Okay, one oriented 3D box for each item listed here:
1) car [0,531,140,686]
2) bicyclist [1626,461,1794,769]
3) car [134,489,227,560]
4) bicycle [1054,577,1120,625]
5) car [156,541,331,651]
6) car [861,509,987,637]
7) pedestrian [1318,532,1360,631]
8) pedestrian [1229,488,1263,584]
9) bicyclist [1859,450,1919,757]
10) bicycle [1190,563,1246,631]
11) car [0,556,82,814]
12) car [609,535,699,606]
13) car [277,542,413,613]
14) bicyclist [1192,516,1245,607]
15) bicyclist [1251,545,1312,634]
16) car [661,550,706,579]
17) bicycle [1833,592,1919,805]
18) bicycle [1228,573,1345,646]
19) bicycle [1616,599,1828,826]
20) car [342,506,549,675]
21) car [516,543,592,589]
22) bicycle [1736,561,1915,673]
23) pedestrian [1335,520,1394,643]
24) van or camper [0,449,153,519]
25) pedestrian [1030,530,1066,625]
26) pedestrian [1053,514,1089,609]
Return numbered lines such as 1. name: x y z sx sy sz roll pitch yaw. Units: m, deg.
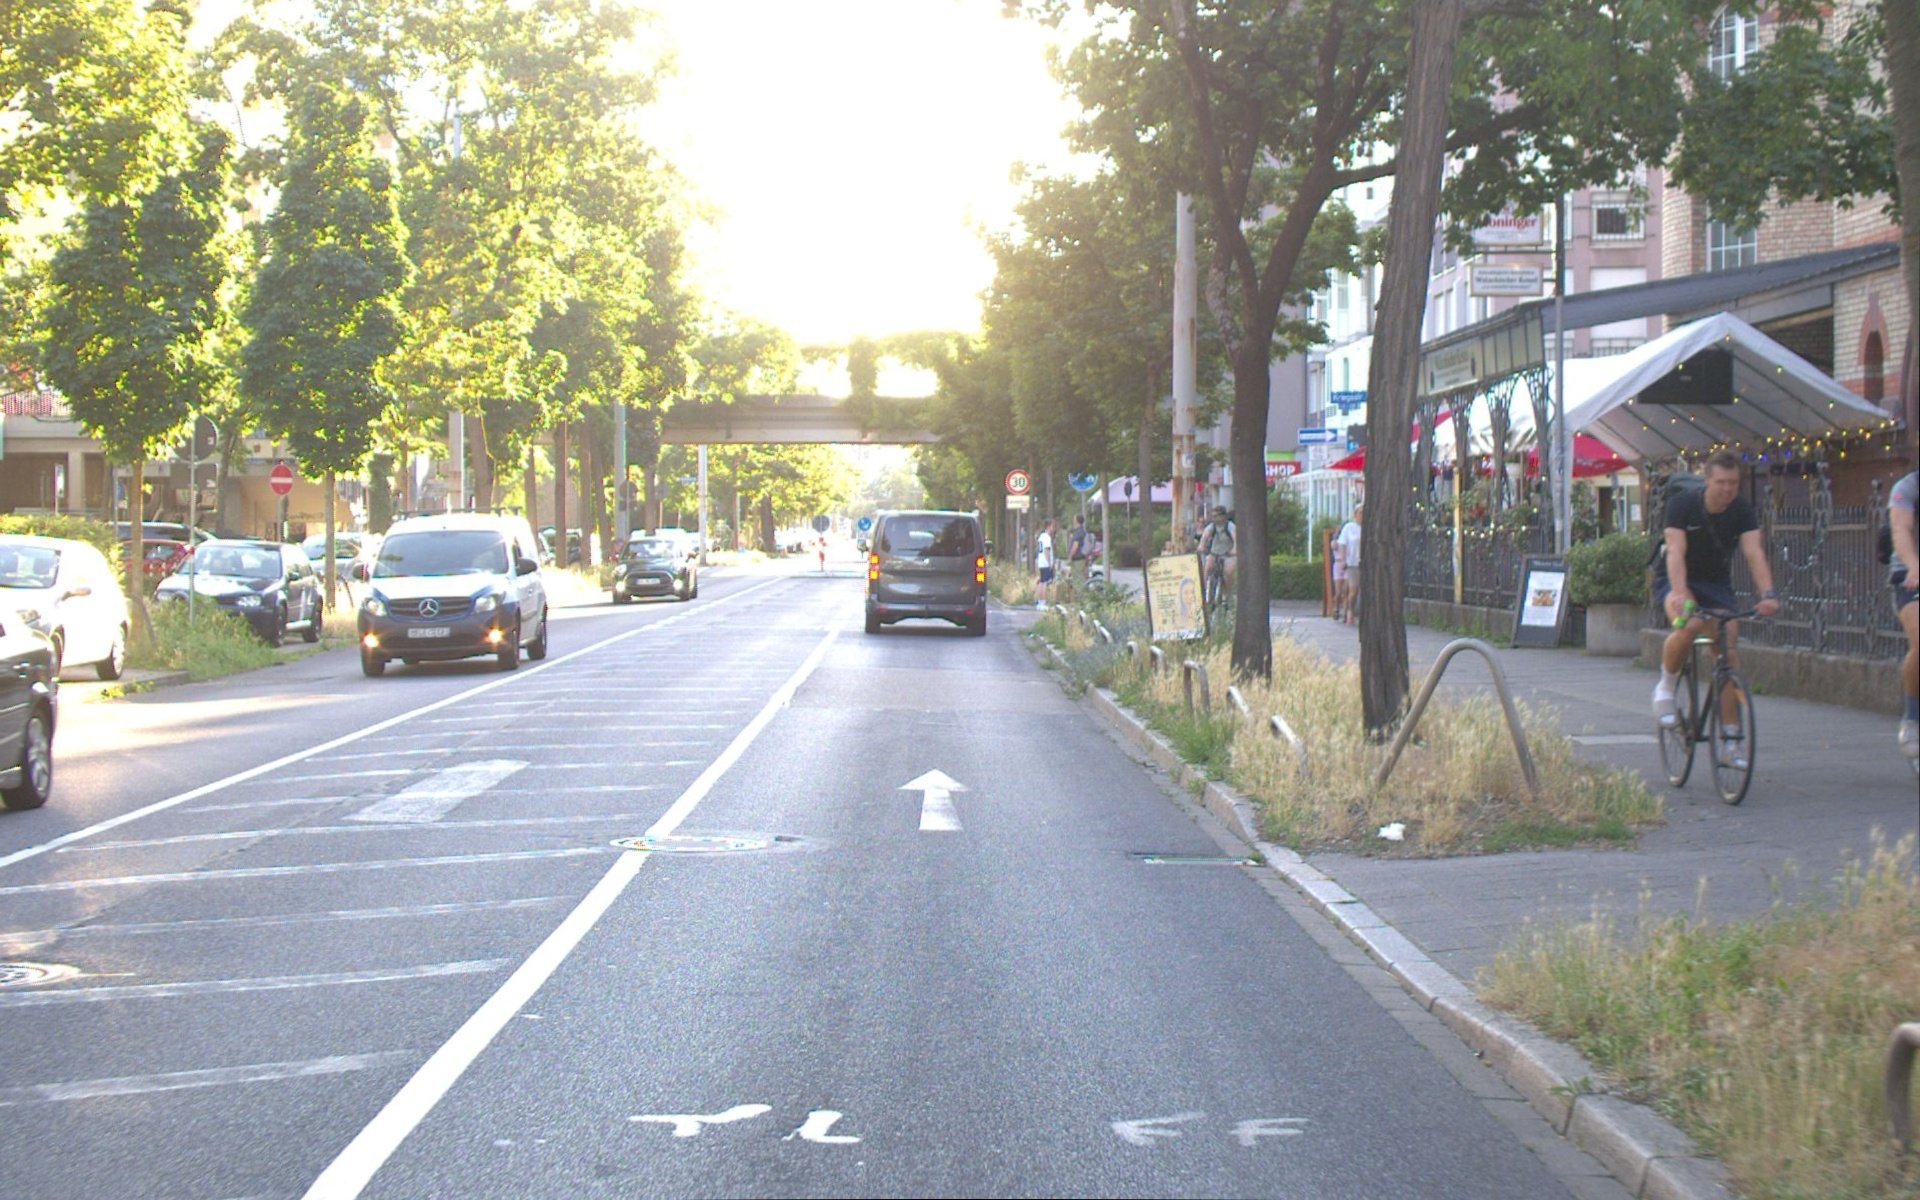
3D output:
1. car: -9.663 0.036 35.067 1.696 1.446 4.000 2 1 -2
2. bicyclist: 3.864 0.071 17.755 0.595 1.527 0.893 2 1 -1
3. car: -26.832 -2.584 118.515 1.993 2.300 5.245 2 1 -1
4. bicycle: 2.573 0.018 69.680 0.588 0.894 1.988 2 1 -20
5. car: -9.843 -0.085 47.456 1.638 1.381 4.000 2 1 -2
6. car: -0.534 -0.443 53.592 1.887 1.918 3.839 0 1 0
7. pedestrian: 5.259 -0.260 47.680 0.467 1.346 0.530 2 1 0
8. pedestrian: 7.631 -1.697 91.742 0.715 2.530 0.824 2 1 0
9. bicyclist: 5.035 0.023 17.512 0.595 1.527 0.893 2 1 -1
10. bicycle: 3.573 -0.056 47.791 0.579 0.894 1.987 2 1 0
11. car: -6.057 0.475 18.178 1.759 1.381 4.305 -1 1 -1
12. car: -6.842 -0.672 77.201 1.679 1.525 4.000 -1 1 -1
13. car: -12.292 -0.467 68.954 1.993 1.305 4.066 2 1 -1
14. bicyclist: 3.589 -0.541 47.822 0.585 1.232 1.112 2 1 -1
15. bicyclist: 5.789 -0.186 61.938 0.935 1.552 0.546 2 1 -6
16. car: -14.394 -1.851 178.957 1.993 1.409 4.237 2 1 -1
17. bicycle: 5.020 0.501 17.554 0.517 1.036 2.089 2 1 -1
18. bicycle: 5.874 0.164 61.953 1.980 1.222 0.548 2 1 -6
19. bicycle: 3.849 0.538 17.510 0.544 1.036 2.089 2 1 -1
20. car: -5.920 -0.144 40.008 1.833 1.846 4.474 0 1 -2
21. car: -13.308 -1.120 112.939 1.993 1.409 4.237 2 1 -1
22. bicycle: 7.824 0.148 31.092 1.445 0.943 0.534 2 1 1
23. pedestrian: 5.456 -0.254 46.359 0.644 1.627 0.656 2 1 0
24. van or camper: -35.600 -4.611 136.330 6.562 2.513 2.450 2 1 -2
25. pedestrian: 1.772 -0.451 69.407 0.504 1.882 0.545 2 1 -15
26. pedestrian: 2.232 -0.775 68.910 0.504 1.882 0.545 2 1 -15
